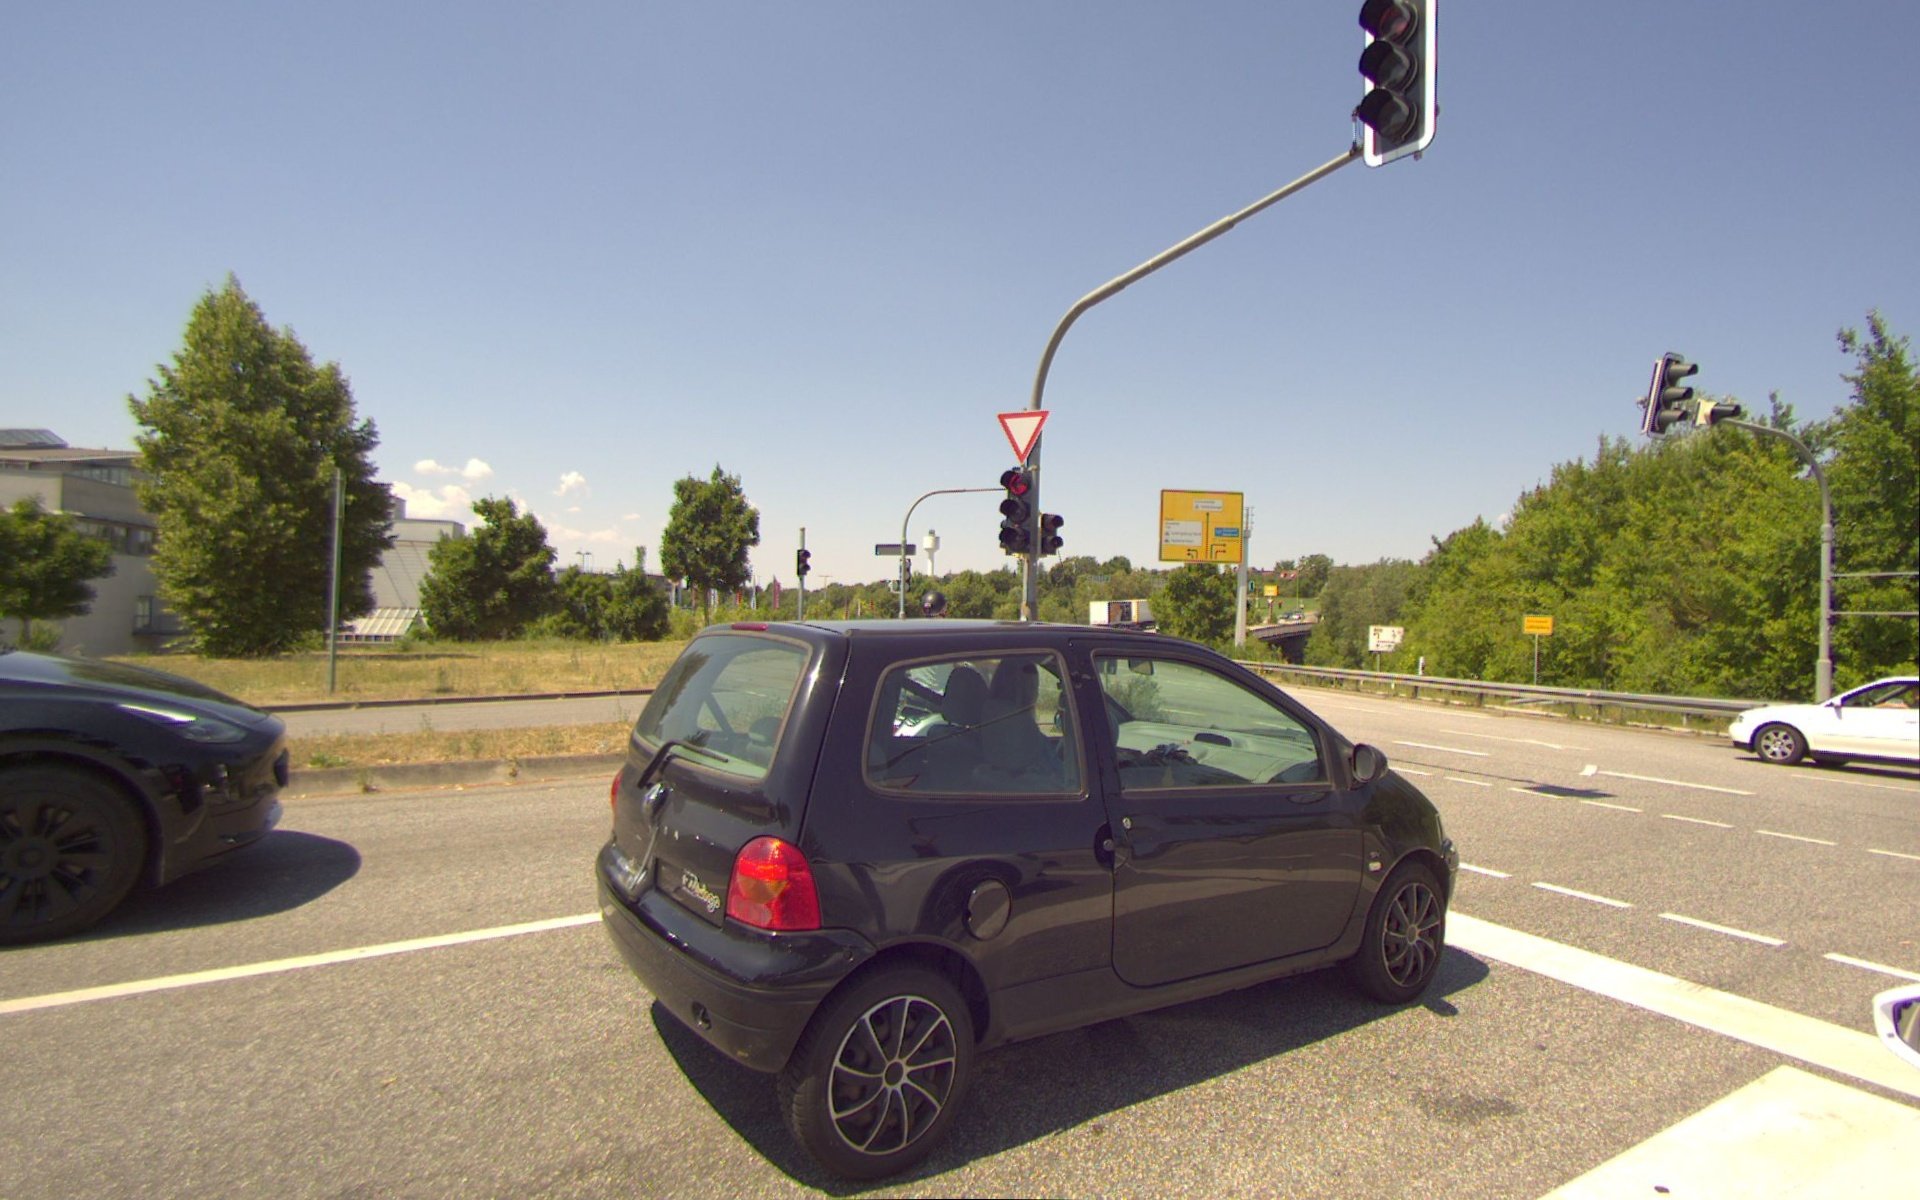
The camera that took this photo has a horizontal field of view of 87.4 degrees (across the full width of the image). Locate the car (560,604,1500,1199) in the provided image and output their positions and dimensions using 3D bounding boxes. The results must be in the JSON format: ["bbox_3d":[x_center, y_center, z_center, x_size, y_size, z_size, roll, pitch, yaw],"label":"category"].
[{"bbox_3d":[0.388,0.777,3.812,3.267,1.426,1.609,2,-1,-34],"label":"car"}]

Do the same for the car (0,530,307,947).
[{"bbox_3d":[-5.269,0.497,3.933,4.462,1.622,1.862,2,0,-36],"label":"car"}]

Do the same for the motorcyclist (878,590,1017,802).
[{"bbox_3d":[-0.100,0.724,7.886,0.838,1.560,0.607,3,0,-34],"label":"motorcyclist"}]

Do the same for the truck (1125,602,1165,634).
[{"bbox_3d":[25.695,2.420,139.374,3.187,4.305,6.219,1,1,34],"label":"truck"}]

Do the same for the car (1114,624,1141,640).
[{"bbox_3d":[19.667,3.745,117.902,1.850,1.644,3.991,1,0,31],"label":"car"}]

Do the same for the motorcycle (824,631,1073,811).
[{"bbox_3d":[-0.052,0.912,7.910,1.921,1.255,0.572,3,-1,-35],"label":"motorcycle"}]

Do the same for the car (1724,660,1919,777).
[{"bbox_3d":[13.306,1.702,13.941,1.626,1.413,3.963,5,-2,-26],"label":"car"}]

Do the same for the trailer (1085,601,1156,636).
[{"bbox_3d":[21.473,2.343,133.026,3.187,4.305,15.362,1,0,34],"label":"trailer"}]

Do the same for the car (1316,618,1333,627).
[{"bbox_3d":[72.827,4.422,200.549,3.760,1.696,1.754,2,-1,-44],"label":"car"}]

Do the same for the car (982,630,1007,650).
[{"bbox_3d":[2.759,3.173,80.624,1.775,1.452,3.931,4,-2,4],"label":"car"}]

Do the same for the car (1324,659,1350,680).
[{"bbox_3d":[29.330,5.390,78.091,1.776,1.452,4.413,4,-2,22],"label":"car"}]

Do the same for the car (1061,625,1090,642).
[{"bbox_3d":[13.056,3.752,113.538,1.851,1.755,3.995,1,-1,28],"label":"car"}]
